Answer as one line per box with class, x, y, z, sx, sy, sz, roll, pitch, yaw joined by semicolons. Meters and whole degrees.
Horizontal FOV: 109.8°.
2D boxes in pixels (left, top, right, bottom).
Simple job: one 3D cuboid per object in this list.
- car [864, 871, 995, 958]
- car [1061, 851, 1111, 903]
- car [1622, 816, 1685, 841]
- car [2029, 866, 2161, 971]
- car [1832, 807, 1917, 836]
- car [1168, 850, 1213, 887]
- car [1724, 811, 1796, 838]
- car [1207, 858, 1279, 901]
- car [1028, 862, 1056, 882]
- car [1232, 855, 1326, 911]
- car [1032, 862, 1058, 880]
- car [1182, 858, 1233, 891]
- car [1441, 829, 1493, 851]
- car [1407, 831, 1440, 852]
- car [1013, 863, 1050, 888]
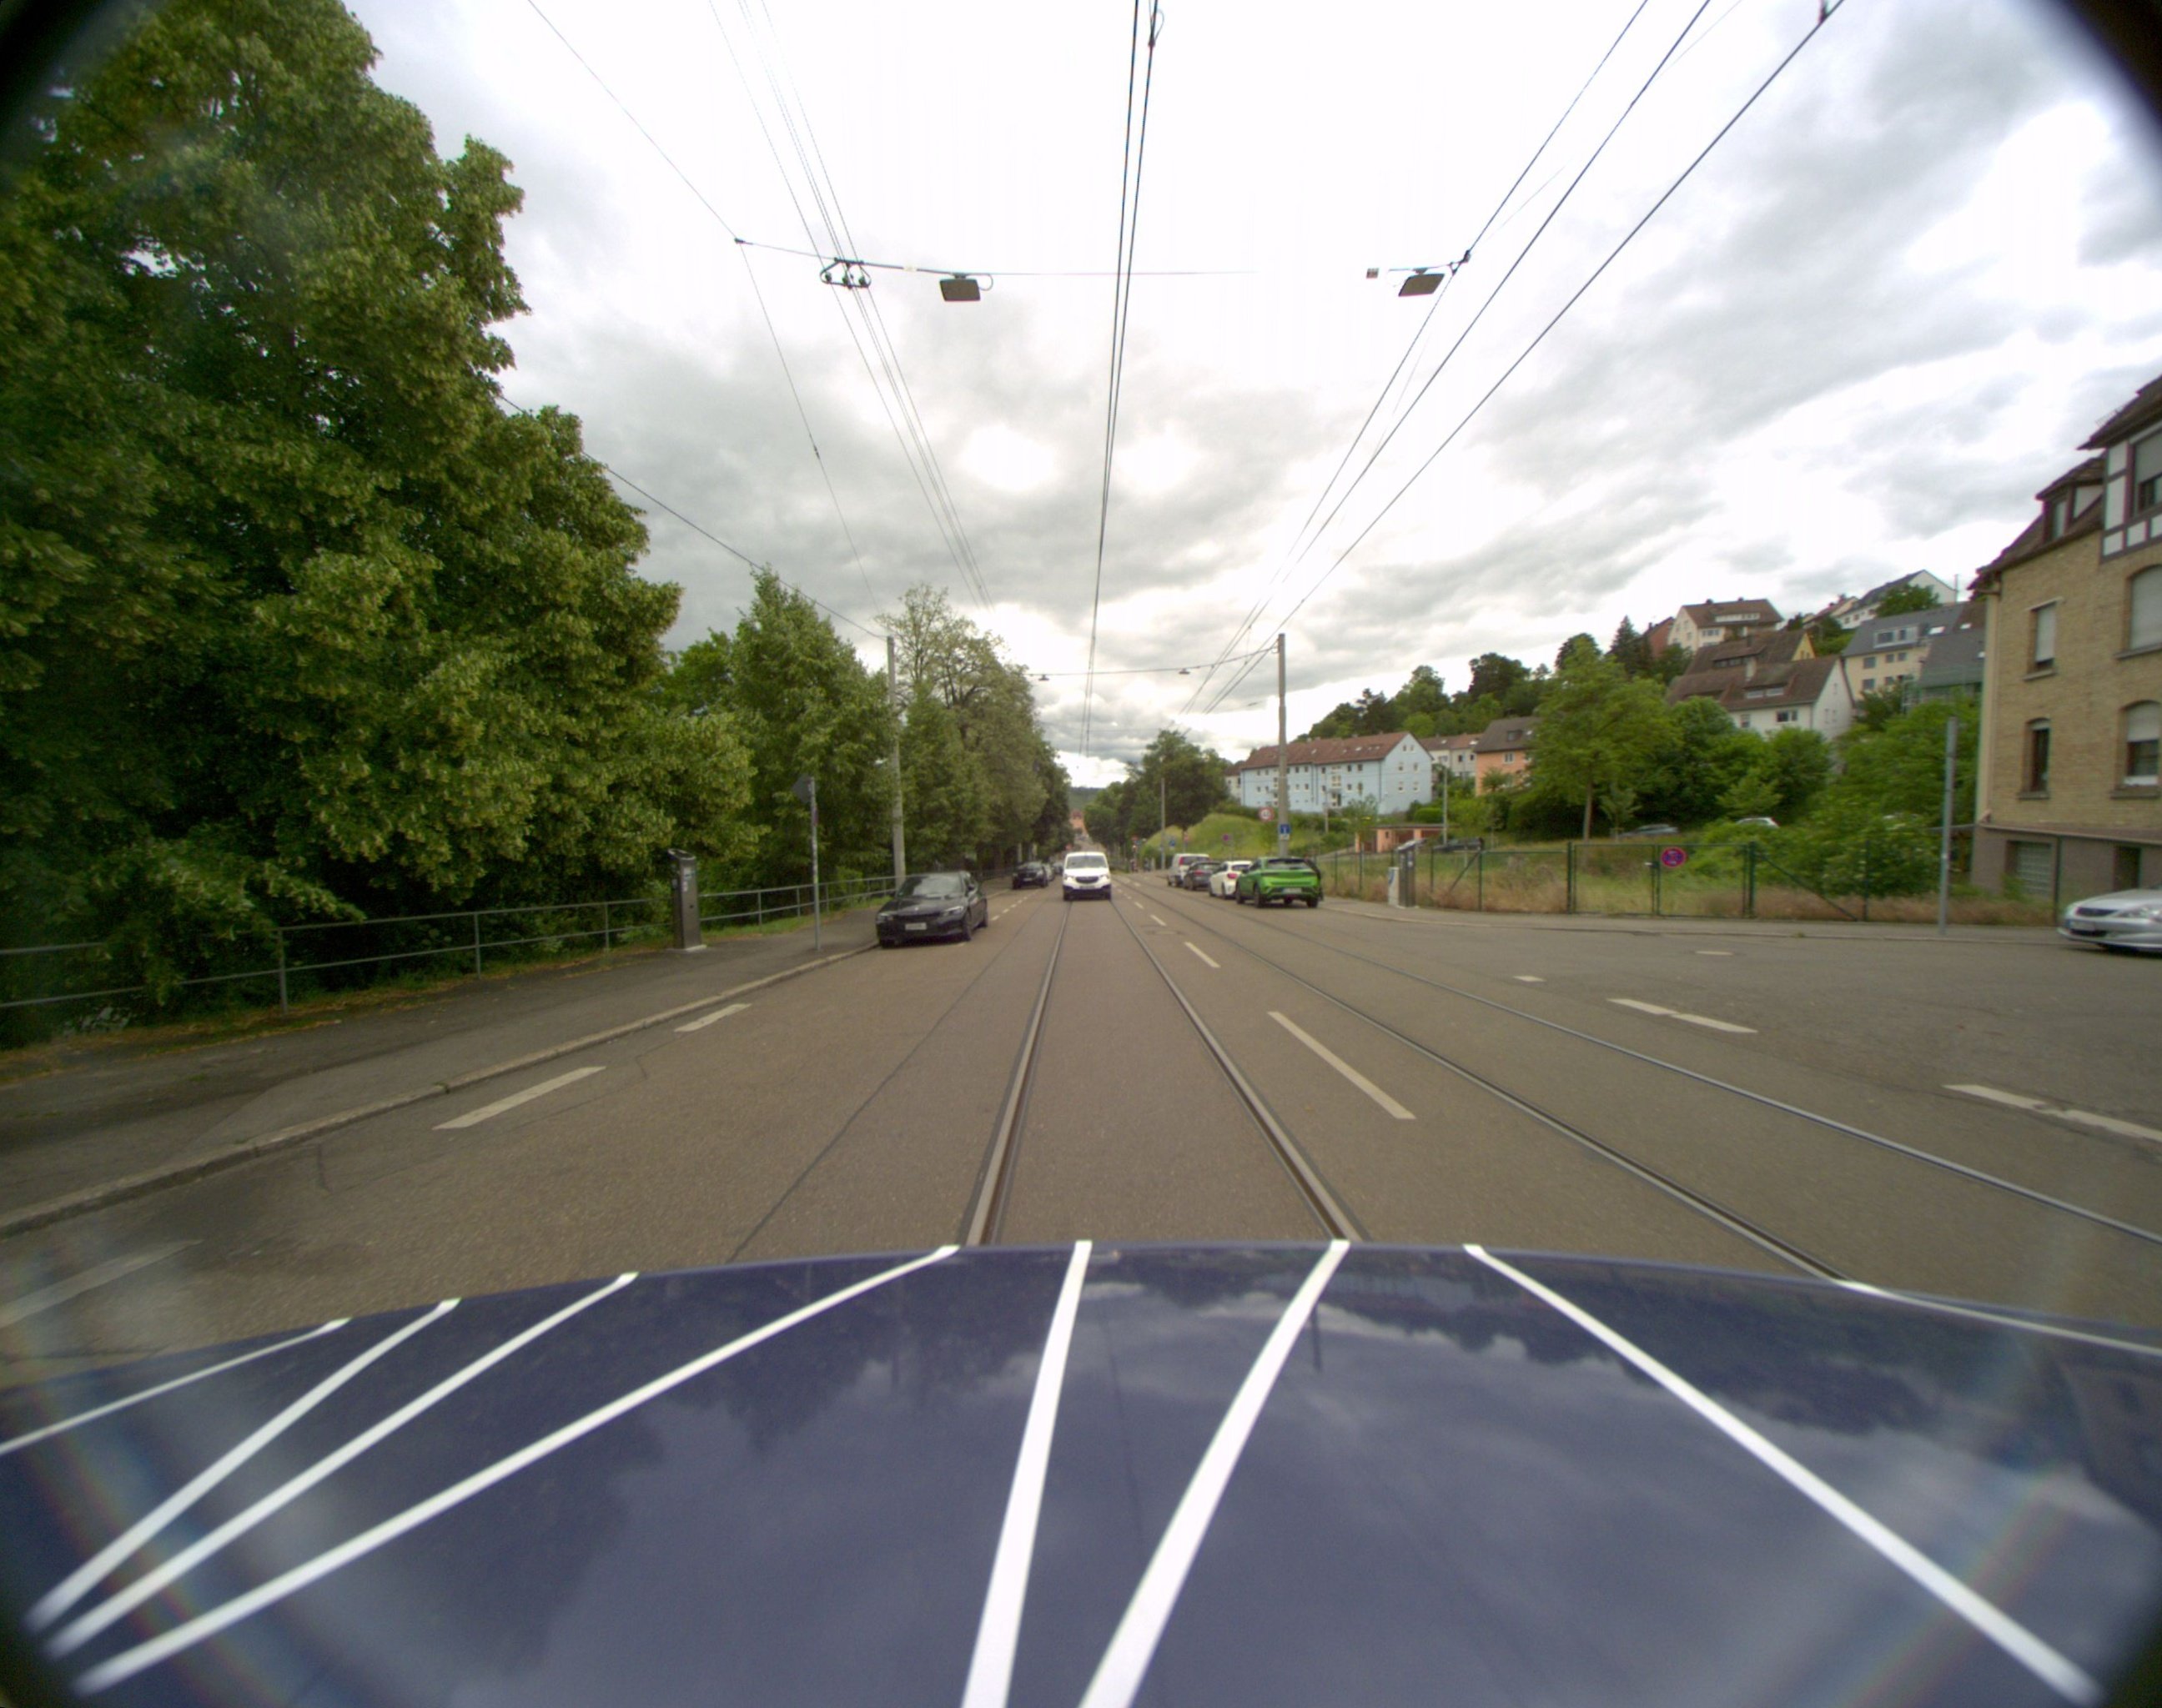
car;-3.141;1.210;16.720;1.863;1.434;4.388;-4;0;1
car;0.250;0.809;29.378;1.759;1.824;4.448;-2;0;2
car;46.923;-2.079;62.293;3.989;1.892;2.004;-1;0;39
car;16.361;0.878;10.334;4.004;1.369;1.698;0;1;24
car;57.079;-2.316;54.766;3.989;1.892;2.004;-1;0;39
car;6.095;0.769;42.758;1.901;1.935;4.290;1;0;0
car;52.116;-2.200;58.424;3.989;1.892;2.004;-1;0;39
car;6.056;0.907;28.856;1.856;1.485;3.948;1;0;0
car;-2.992;1.377;58.817;1.822;1.344;3.940;-3;0;2
car;5.959;0.823;23.361;1.856;1.531;3.948;-1;0;0
car;-3.006;1.393;63.858;1.822;1.344;3.940;-3;0;2
car;6.175;0.985;37.543;1.856;1.485;3.948;1;0;0
car;36.004;-1.271;70.843;3.989;1.892;2.004;-1;0;39
car;33.598;-1.225;74.502;1.994;1.892;4.008;-1;0;39
car;-2.975;1.290;46.632;1.822;1.344;3.940;-3;0;2
